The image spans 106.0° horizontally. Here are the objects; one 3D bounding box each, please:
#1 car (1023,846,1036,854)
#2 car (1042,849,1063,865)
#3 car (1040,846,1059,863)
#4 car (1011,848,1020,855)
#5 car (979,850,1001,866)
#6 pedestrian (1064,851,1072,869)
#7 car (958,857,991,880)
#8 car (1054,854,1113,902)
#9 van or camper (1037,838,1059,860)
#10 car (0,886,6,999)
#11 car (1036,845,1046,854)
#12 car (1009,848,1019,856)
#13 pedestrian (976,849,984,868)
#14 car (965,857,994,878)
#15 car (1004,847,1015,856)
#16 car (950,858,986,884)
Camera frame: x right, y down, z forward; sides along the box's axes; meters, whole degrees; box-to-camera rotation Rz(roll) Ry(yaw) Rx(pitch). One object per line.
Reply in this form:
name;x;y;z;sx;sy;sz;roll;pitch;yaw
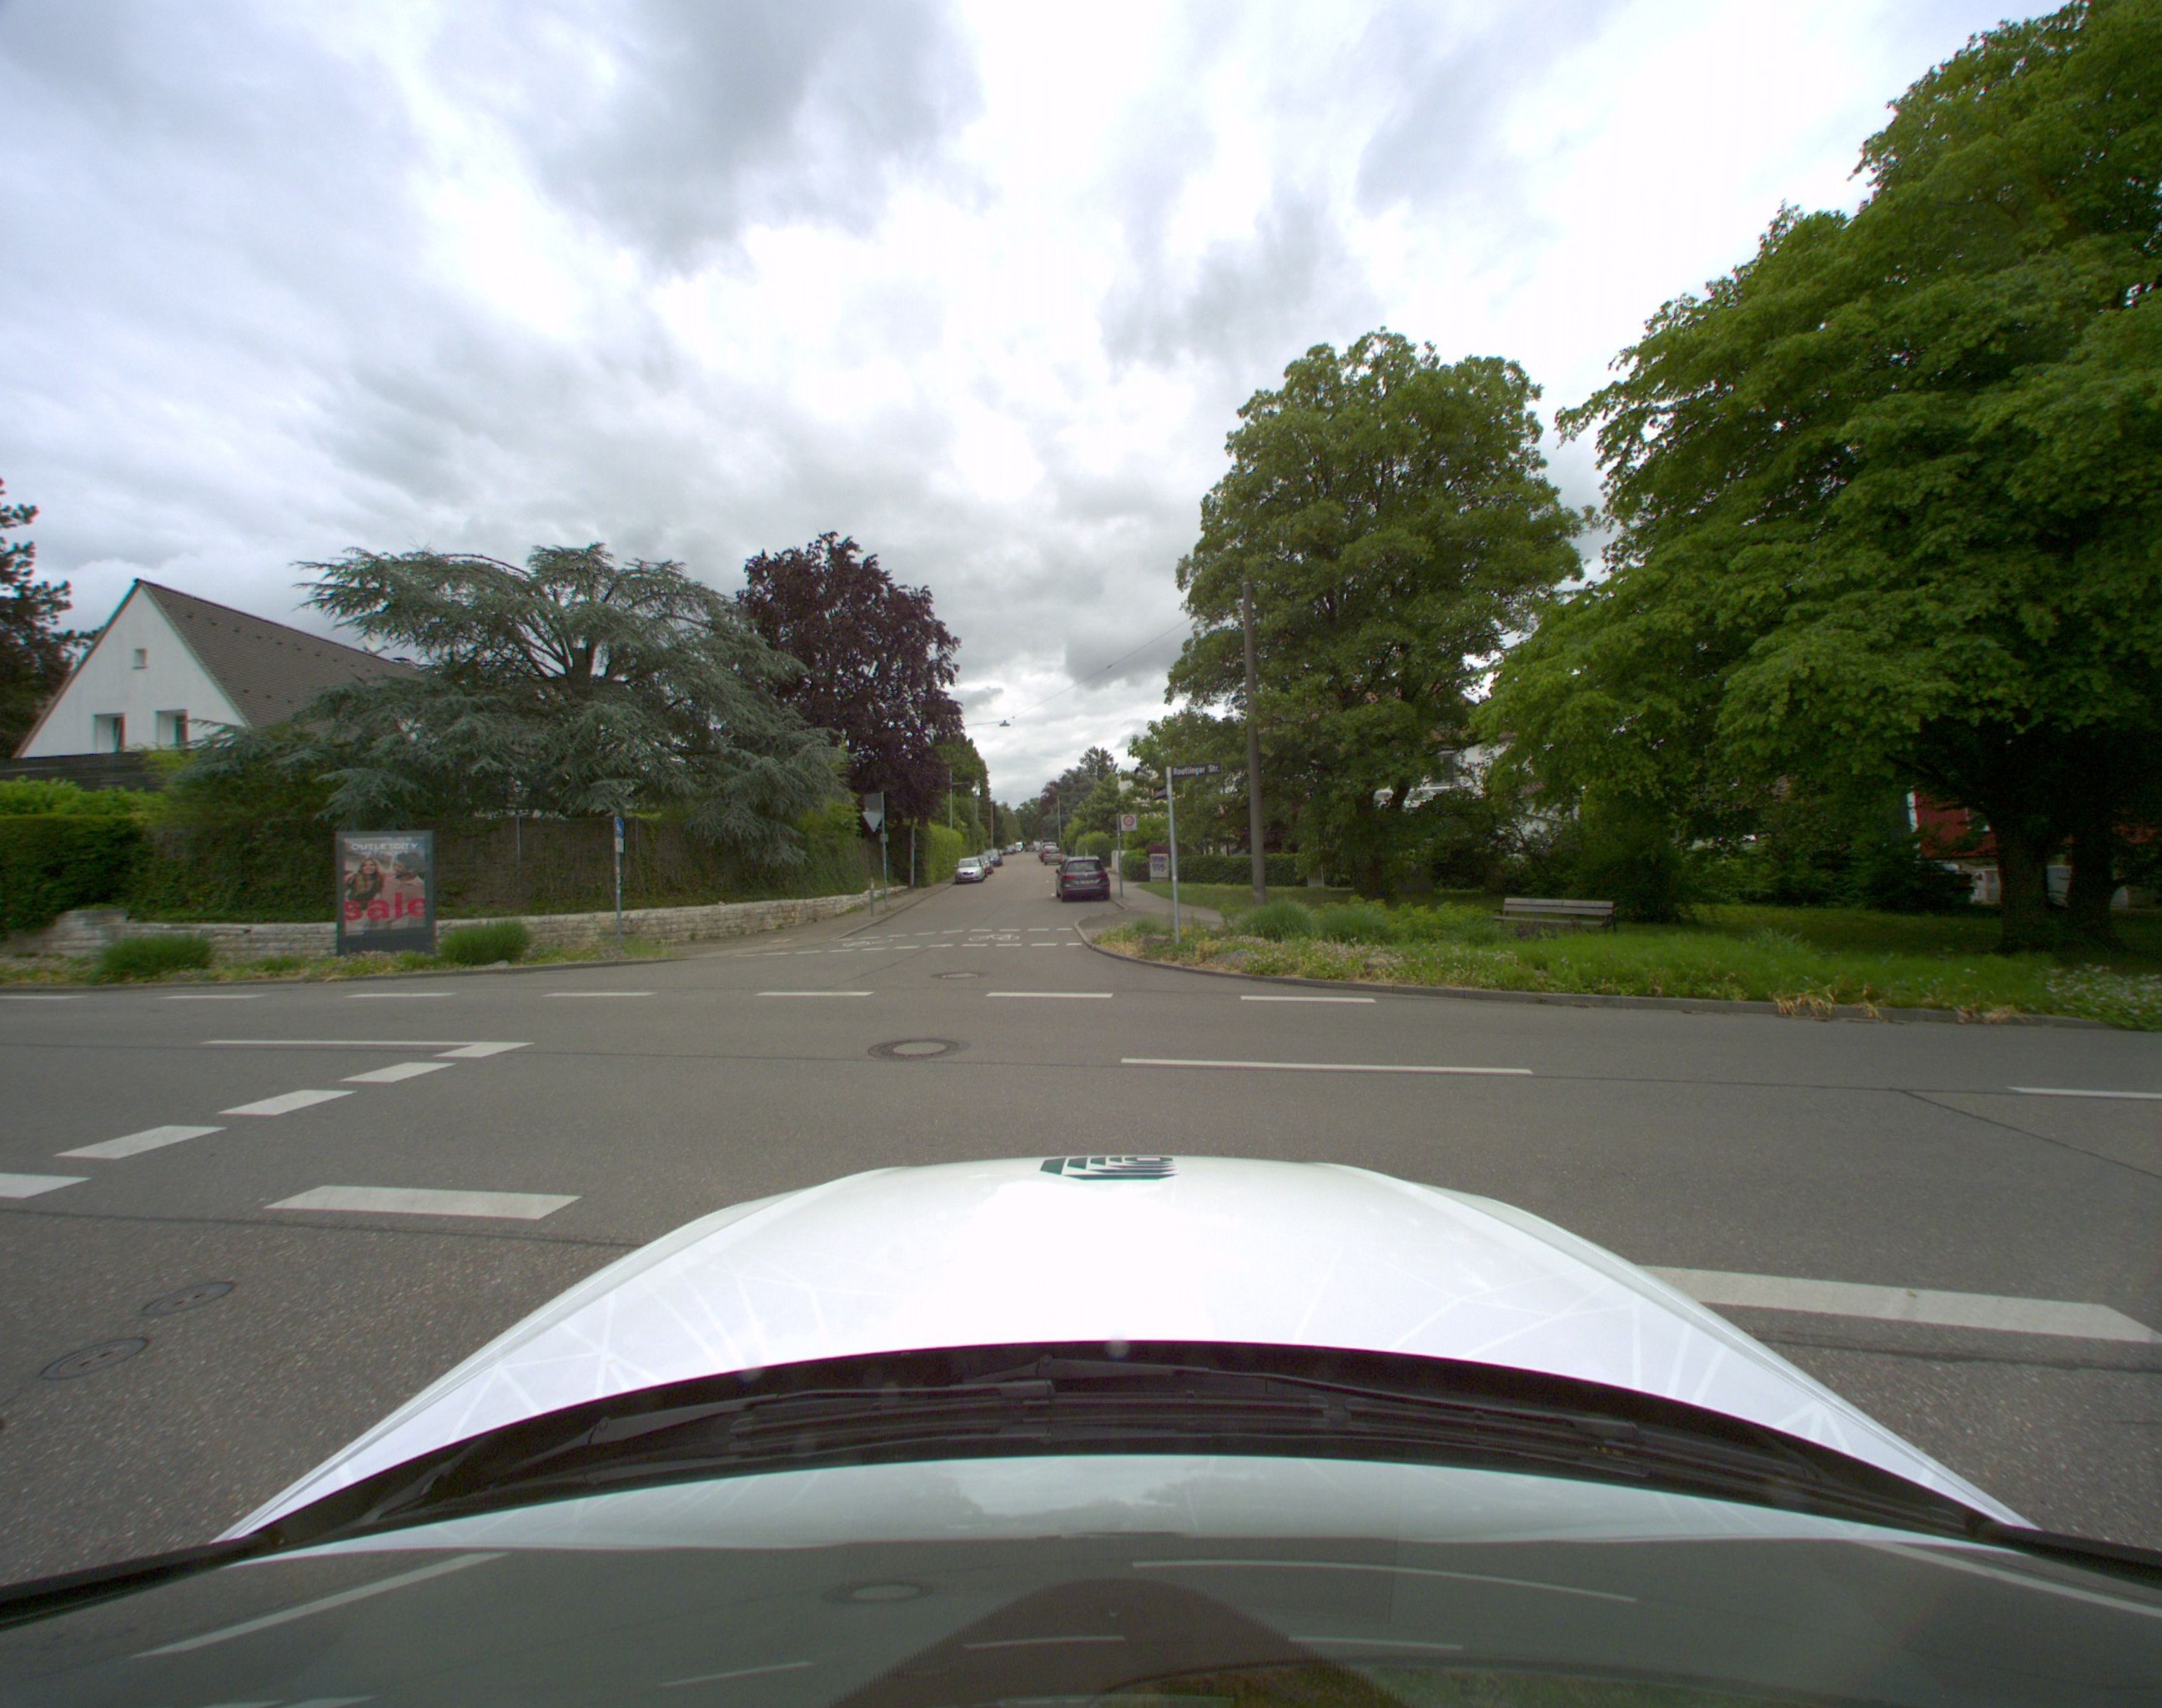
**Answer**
car;-11.383;-0.927;179.258;1.821;1.574;3.974;-2;0;-19
car;-2.557;0.266;73.326;1.607;1.413;3.465;0;0;-6
car;-3.238;0.036;83.188;1.744;1.640;3.721;-2;0;-5
car;-13.518;-0.566;167.748;1.653;1.335;3.774;0;0;-5
car;-8.600;0.386;77.384;1.944;1.442;3.992;-2;0;-6
pedestrian;-1.423;0.640;88.022;0.755;1.871;0.619;0;0;-4
car;-7.088;0.945;54.503;1.944;1.442;3.992;-2;0;-6
car;0.028;0.834;29.999;1.814;1.536;3.994;-3;0;-4
van or camper;-3.867;-0.507;95.119;2.110;2.405;5.234;-2;0;-6
car;-17.546;1.251;10.600;4.288;1.612;1.851;-1;-3;-4
car;-8.908;-1.010;181.081;1.939;1.796;4.183;0;0;-8
car;-12.116;-0.324;147.611;1.711;1.463;3.651;0;0;-4
pedestrian;-10.946;0.473;88.391;0.853;2.014;0.870;0;0;-9
car;-7.433;0.986;59.999;1.944;1.442;3.992;-2;0;-6
car;-12.109;-0.420;137.764;1.711;1.463;3.651;0;0;-4
car;-6.779;1.015;49.368;1.944;1.442;3.992;-2;0;-6
